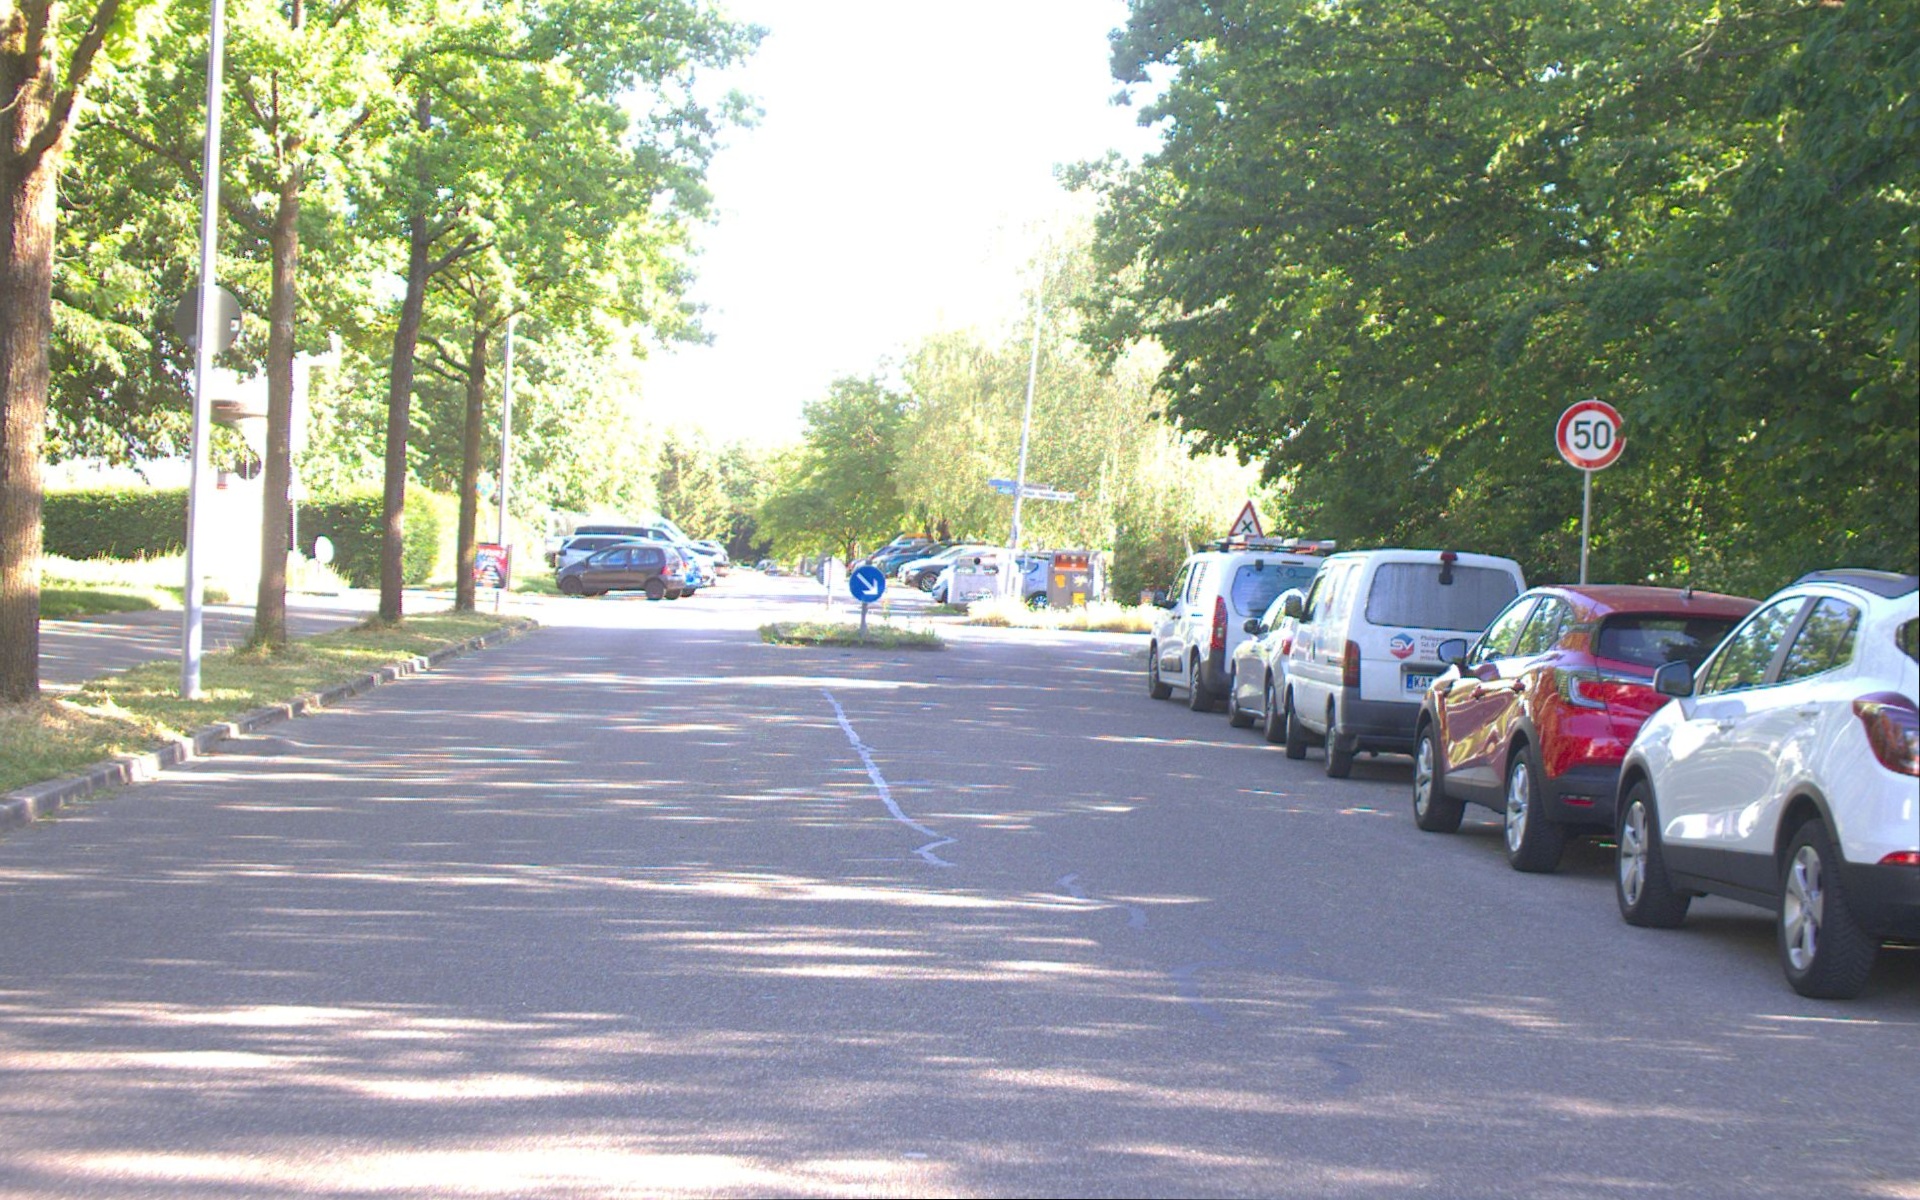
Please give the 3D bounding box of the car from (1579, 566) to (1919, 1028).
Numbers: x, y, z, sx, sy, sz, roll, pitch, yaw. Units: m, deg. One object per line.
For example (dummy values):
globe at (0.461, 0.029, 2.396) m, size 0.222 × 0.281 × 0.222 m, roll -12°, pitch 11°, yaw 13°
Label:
car at (4.015, 0.740, 14.322) m, size 1.775 × 1.616 × 4.065 m, roll 4°, pitch 1°, yaw -4°

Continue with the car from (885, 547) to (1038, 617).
car at (0.062, -0.475, 90.987) m, size 3.839 × 1.571 × 1.688 m, roll 4°, pitch 0°, yaw 4°

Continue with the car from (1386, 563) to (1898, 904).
car at (3.770, 0.670, 19.746) m, size 1.775 × 1.616 × 4.065 m, roll 4°, pitch 1°, yaw -4°

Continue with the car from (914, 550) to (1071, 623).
car at (0.847, -0.342, 88.191) m, size 3.839 × 1.571 × 1.688 m, roll 4°, pitch 0°, yaw 4°

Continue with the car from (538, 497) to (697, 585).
car at (-11.723, -2.013, 117.495) m, size 5.198 × 2.612 × 2.294 m, roll 4°, pitch 0°, yaw -7°

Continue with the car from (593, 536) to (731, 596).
car at (-9.393, -1.077, 108.640) m, size 4.106 × 1.571 × 1.958 m, roll 4°, pitch 1°, yaw 0°

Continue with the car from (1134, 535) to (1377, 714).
car at (3.263, 0.221, 38.843) m, size 1.790 × 1.779 × 4.558 m, roll 4°, pitch 1°, yaw -6°

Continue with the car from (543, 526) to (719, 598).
car at (-8.806, -1.016, 92.344) m, size 4.319 × 1.571 × 2.046 m, roll 4°, pitch 1°, yaw 4°

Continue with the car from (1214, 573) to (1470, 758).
car at (3.559, 0.566, 32.706) m, size 1.691 × 1.507 × 4.207 m, roll 4°, pitch 1°, yaw -3°

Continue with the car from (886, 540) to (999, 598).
car at (-0.616, -1.111, 122.926) m, size 3.839 × 1.789 × 1.688 m, roll 4°, pitch 0°, yaw 2°

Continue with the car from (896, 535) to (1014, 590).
car at (-0.156, -1.279, 116.734) m, size 3.839 × 1.571 × 1.688 m, roll 4°, pitch 0°, yaw 2°

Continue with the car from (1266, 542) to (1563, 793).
car at (3.565, 0.481, 27.571) m, size 1.623 × 1.767 × 3.669 m, roll 4°, pitch 1°, yaw -3°
